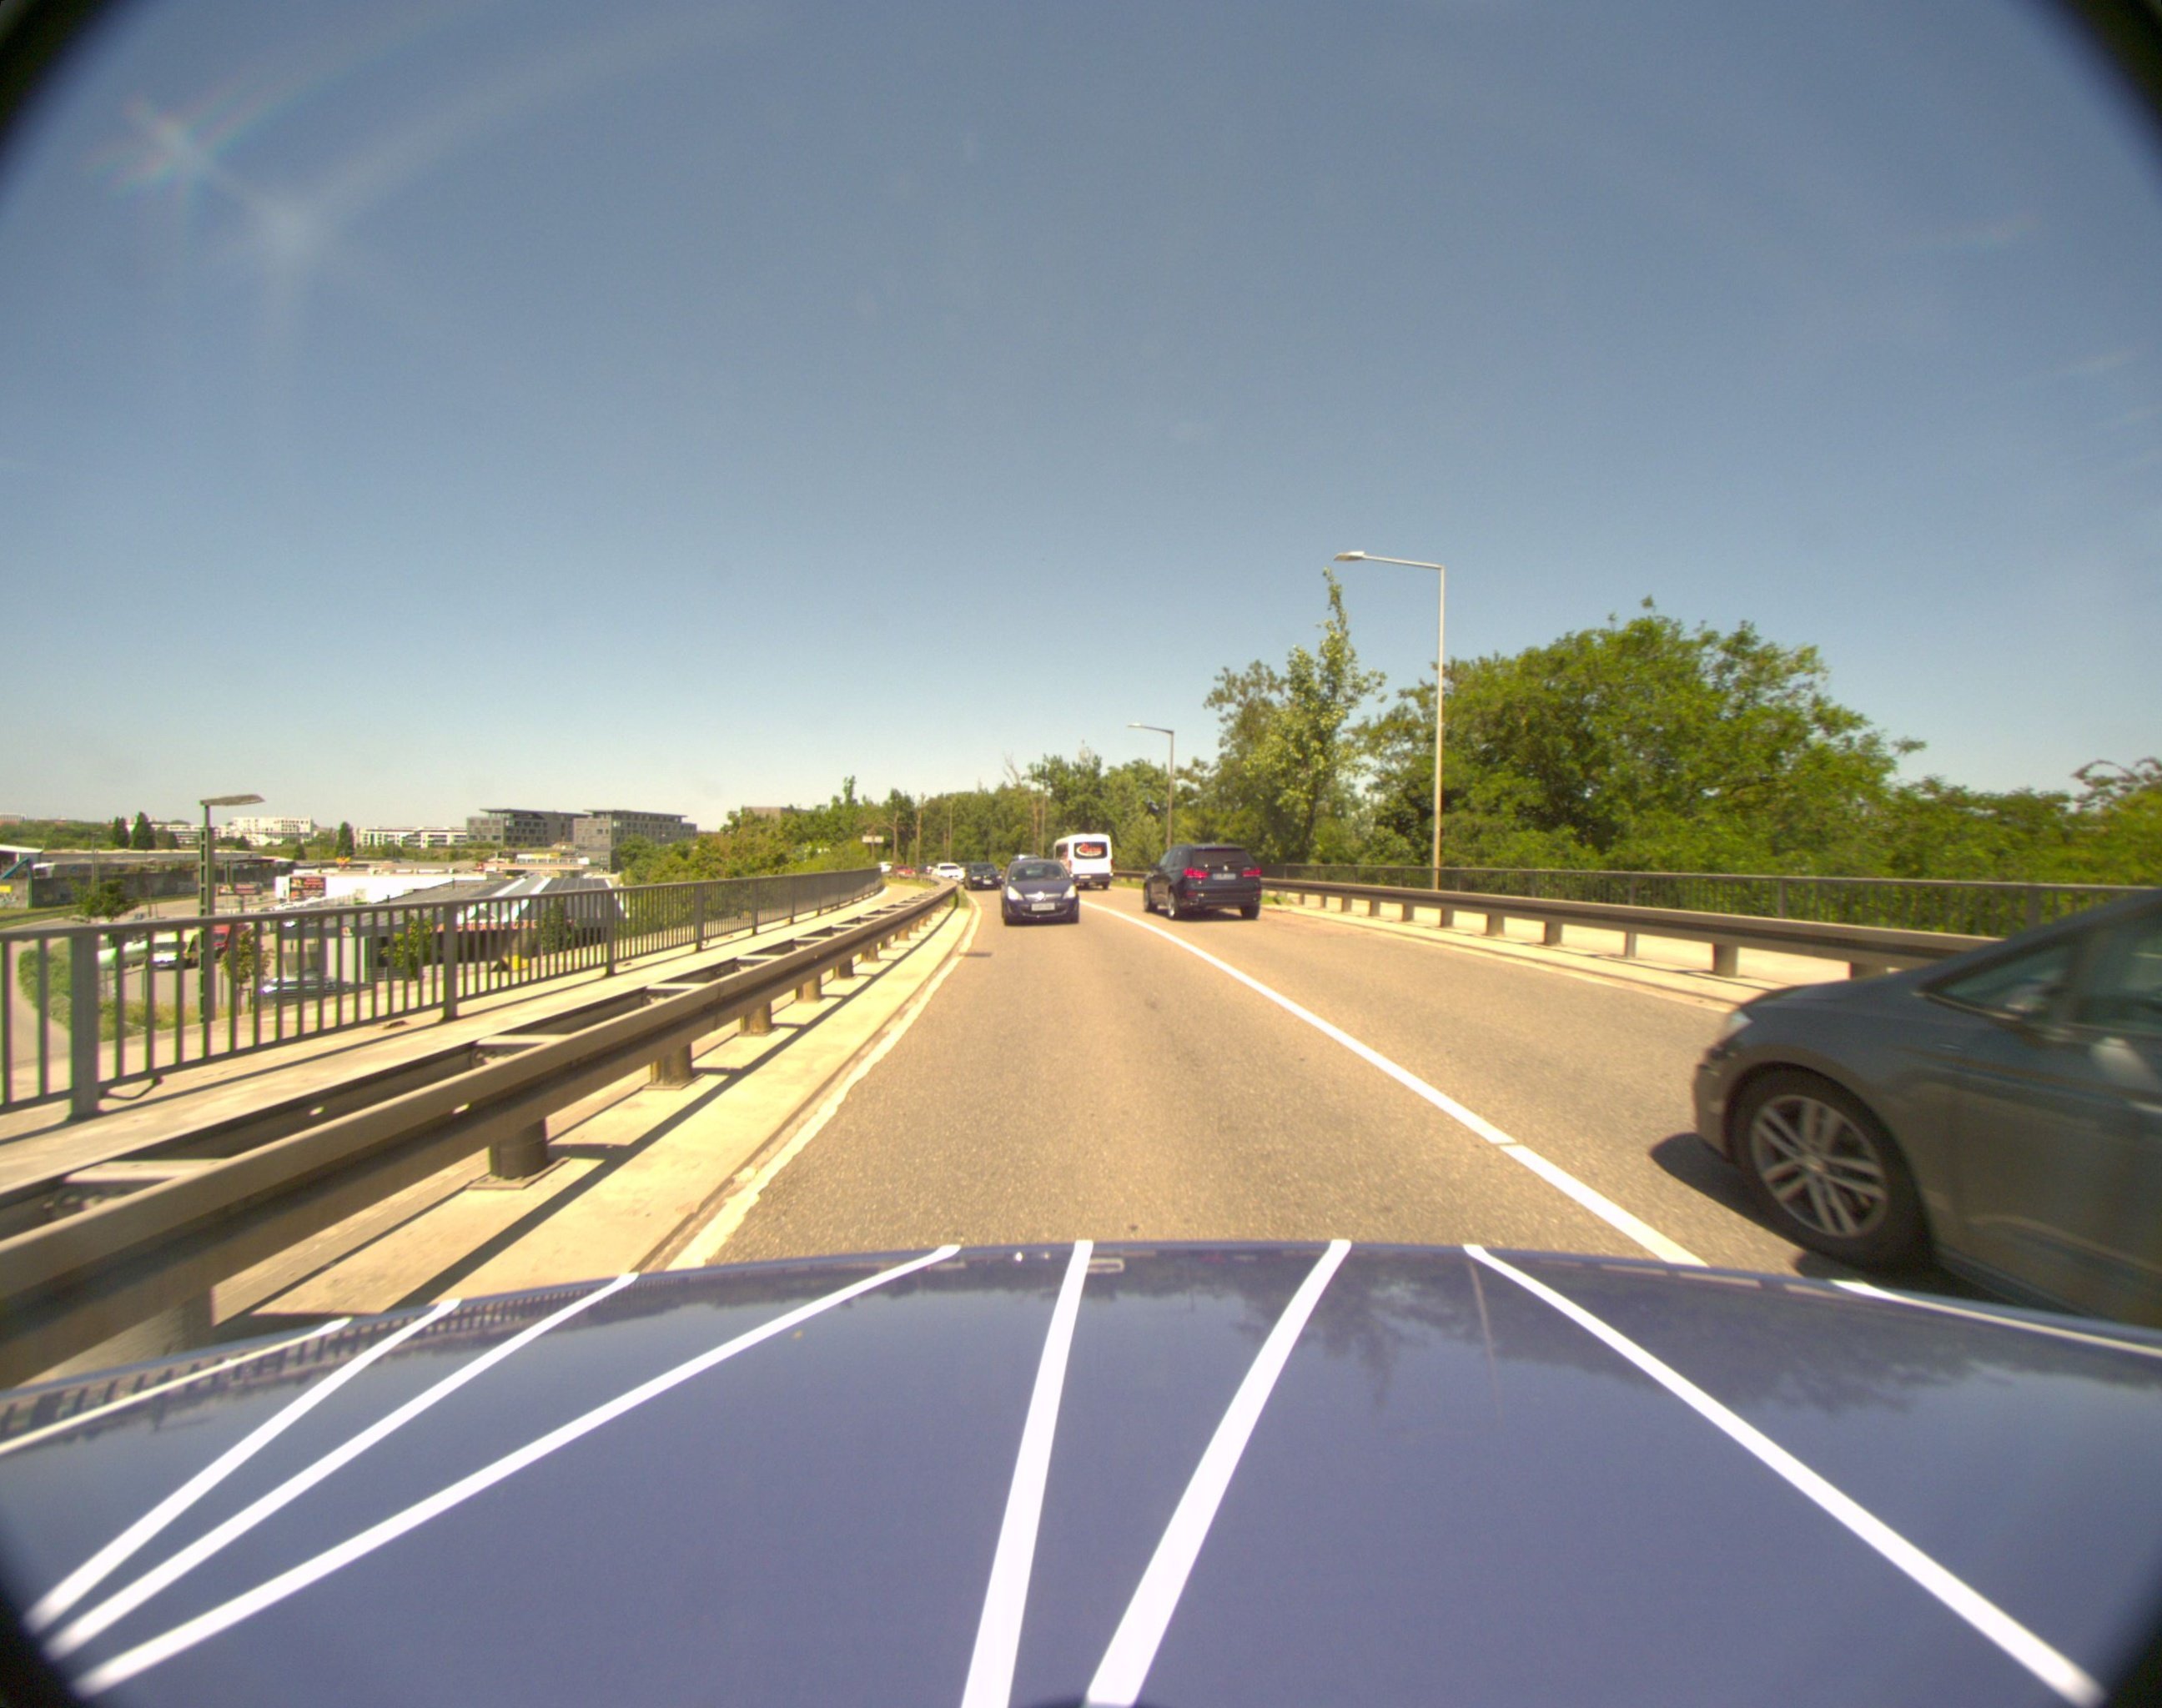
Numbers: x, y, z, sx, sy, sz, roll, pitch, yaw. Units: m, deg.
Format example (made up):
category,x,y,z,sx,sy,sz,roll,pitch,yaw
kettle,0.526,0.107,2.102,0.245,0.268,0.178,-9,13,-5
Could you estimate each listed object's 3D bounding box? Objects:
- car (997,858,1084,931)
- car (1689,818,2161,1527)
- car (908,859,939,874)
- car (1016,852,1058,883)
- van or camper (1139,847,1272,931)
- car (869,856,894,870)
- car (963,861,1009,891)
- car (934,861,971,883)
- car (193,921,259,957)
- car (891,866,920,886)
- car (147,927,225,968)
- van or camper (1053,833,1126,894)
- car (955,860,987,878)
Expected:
category,x,y,z,sx,sy,sz,roll,pitch,yaw
car,-1.091,0.868,18.272,1.699,1.459,4.380,-2,0,-7
car,3.423,0.743,1.014,1.900,1.645,4.257,-1,1,2
car,-15.592,1.235,74.961,1.724,1.419,4.097,-1,0,-31
car,-2.850,0.838,48.234,1.763,1.844,4.269,-2,0,-15
van or camper,2.835,0.713,18.471,2.000,1.750,4.694,-1,1,-6
car,-23.141,1.037,88.081,1.754,1.537,4.383,-2,0,-28
car,-4.920,1.071,38.866,1.571,1.408,4.116,-2,0,-17
car,-8.780,1.190,51.686,1.819,1.419,3.709,-2,0,-19
car,-69.990,6.907,62.287,2.155,2.339,4.917,-7,2,-33
car,-16.322,1.990,70.551,1.904,1.645,4.249,-2,2,-22
car,-66.299,6.883,56.400,2.155,2.339,4.917,-7,2,-33
van or camper,0.282,0.422,34.724,2.055,2.522,5.877,0,0,-12
car,-9.292,1.246,63.892,1.764,1.434,4.561,-2,0,-19
